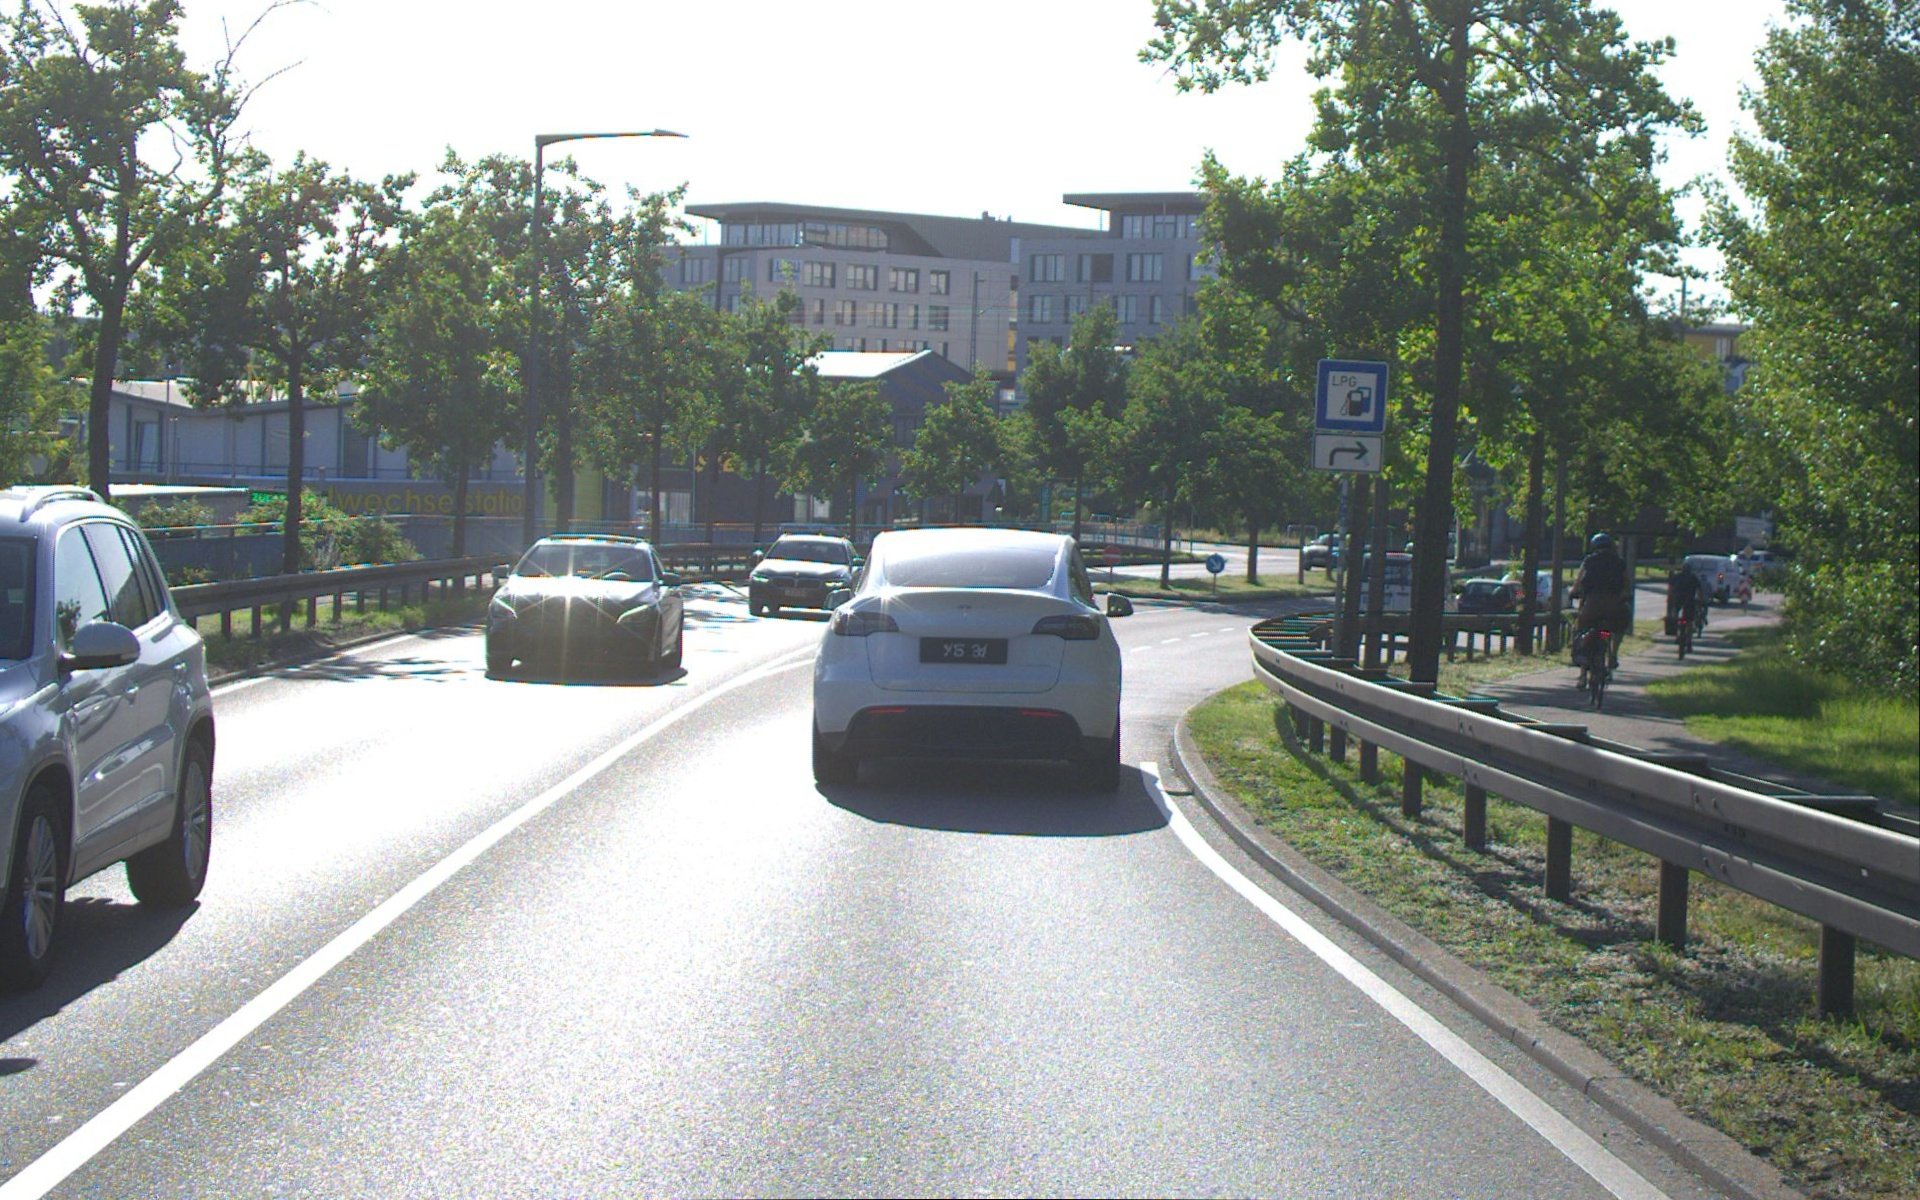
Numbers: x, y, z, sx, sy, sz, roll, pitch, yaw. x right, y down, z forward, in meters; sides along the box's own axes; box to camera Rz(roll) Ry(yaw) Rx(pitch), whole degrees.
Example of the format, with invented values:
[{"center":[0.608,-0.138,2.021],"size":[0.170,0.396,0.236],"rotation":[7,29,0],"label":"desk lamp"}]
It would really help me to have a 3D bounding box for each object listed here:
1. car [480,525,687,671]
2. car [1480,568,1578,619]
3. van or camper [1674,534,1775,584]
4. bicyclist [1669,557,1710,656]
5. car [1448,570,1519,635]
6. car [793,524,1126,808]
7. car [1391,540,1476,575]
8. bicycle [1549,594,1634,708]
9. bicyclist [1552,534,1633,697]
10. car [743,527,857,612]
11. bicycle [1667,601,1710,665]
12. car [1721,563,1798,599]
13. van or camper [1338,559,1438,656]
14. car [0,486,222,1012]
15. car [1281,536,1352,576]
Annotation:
[{"center":[-3.976,-0.068,36.861],"size":[1.691,1.436,4.216],"rotation":[1,1,1],"label":"car"},{"center":[18.783,-0.227,113.365],"size":[1.766,1.470,4.282],"rotation":[5,3,29],"label":"car"},{"center":[29.917,-1.594,134.511],"size":[1.830,1.784,4.534],"rotation":[6,4,40],"label":"van or camper"},{"center":[13.354,0.112,62.979],"size":[0.675,1.770,0.948],"rotation":[1,1,11],"label":"bicyclist"},{"center":[14.108,0.054,92.568],"size":[1.605,1.429,3.677],"rotation":[4,4,12],"label":"car"},{"center":[0.099,0.341,22.442],"size":[1.914,1.635,4.410],"rotation":[1,1,3],"label":"car"},{"center":[21.959,-1.958,159.246],"size":[1.734,1.380,4.486],"rotation":[5,2,39],"label":"car"},{"center":[6.243,0.498,33.932],"size":[0.701,1.071,1.920],"rotation":[1,0,13],"label":"bicycle"},{"center":[6.255,0.159,33.960],"size":[0.708,1.573,1.004],"rotation":[1,-1,13],"label":"bicyclist"},{"center":[-2.952,-0.602,64.262],"size":[1.809,1.491,4.369],"rotation":[1,1,1],"label":"car"},{"center":[13.337,0.593,62.949],"size":[0.695,1.091,2.117],"rotation":[1,1,11],"label":"bicycle"},{"center":[36.249,-0.870,155.889],"size":[1.712,1.517,3.733],"rotation":[6,4,42],"label":"car"},{"center":[8.914,0.129,71.900],"size":[1.959,1.877,4.879],"rotation":[1,1,6],"label":"van or camper"},{"center":[-3.916,0.416,12.428],"size":[1.728,1.652,3.982],"rotation":[1,1,-2],"label":"car"},{"center":[14.753,-1.823,142.232],"size":[1.764,1.484,4.272],"rotation":[5,1,21],"label":"car"}]
